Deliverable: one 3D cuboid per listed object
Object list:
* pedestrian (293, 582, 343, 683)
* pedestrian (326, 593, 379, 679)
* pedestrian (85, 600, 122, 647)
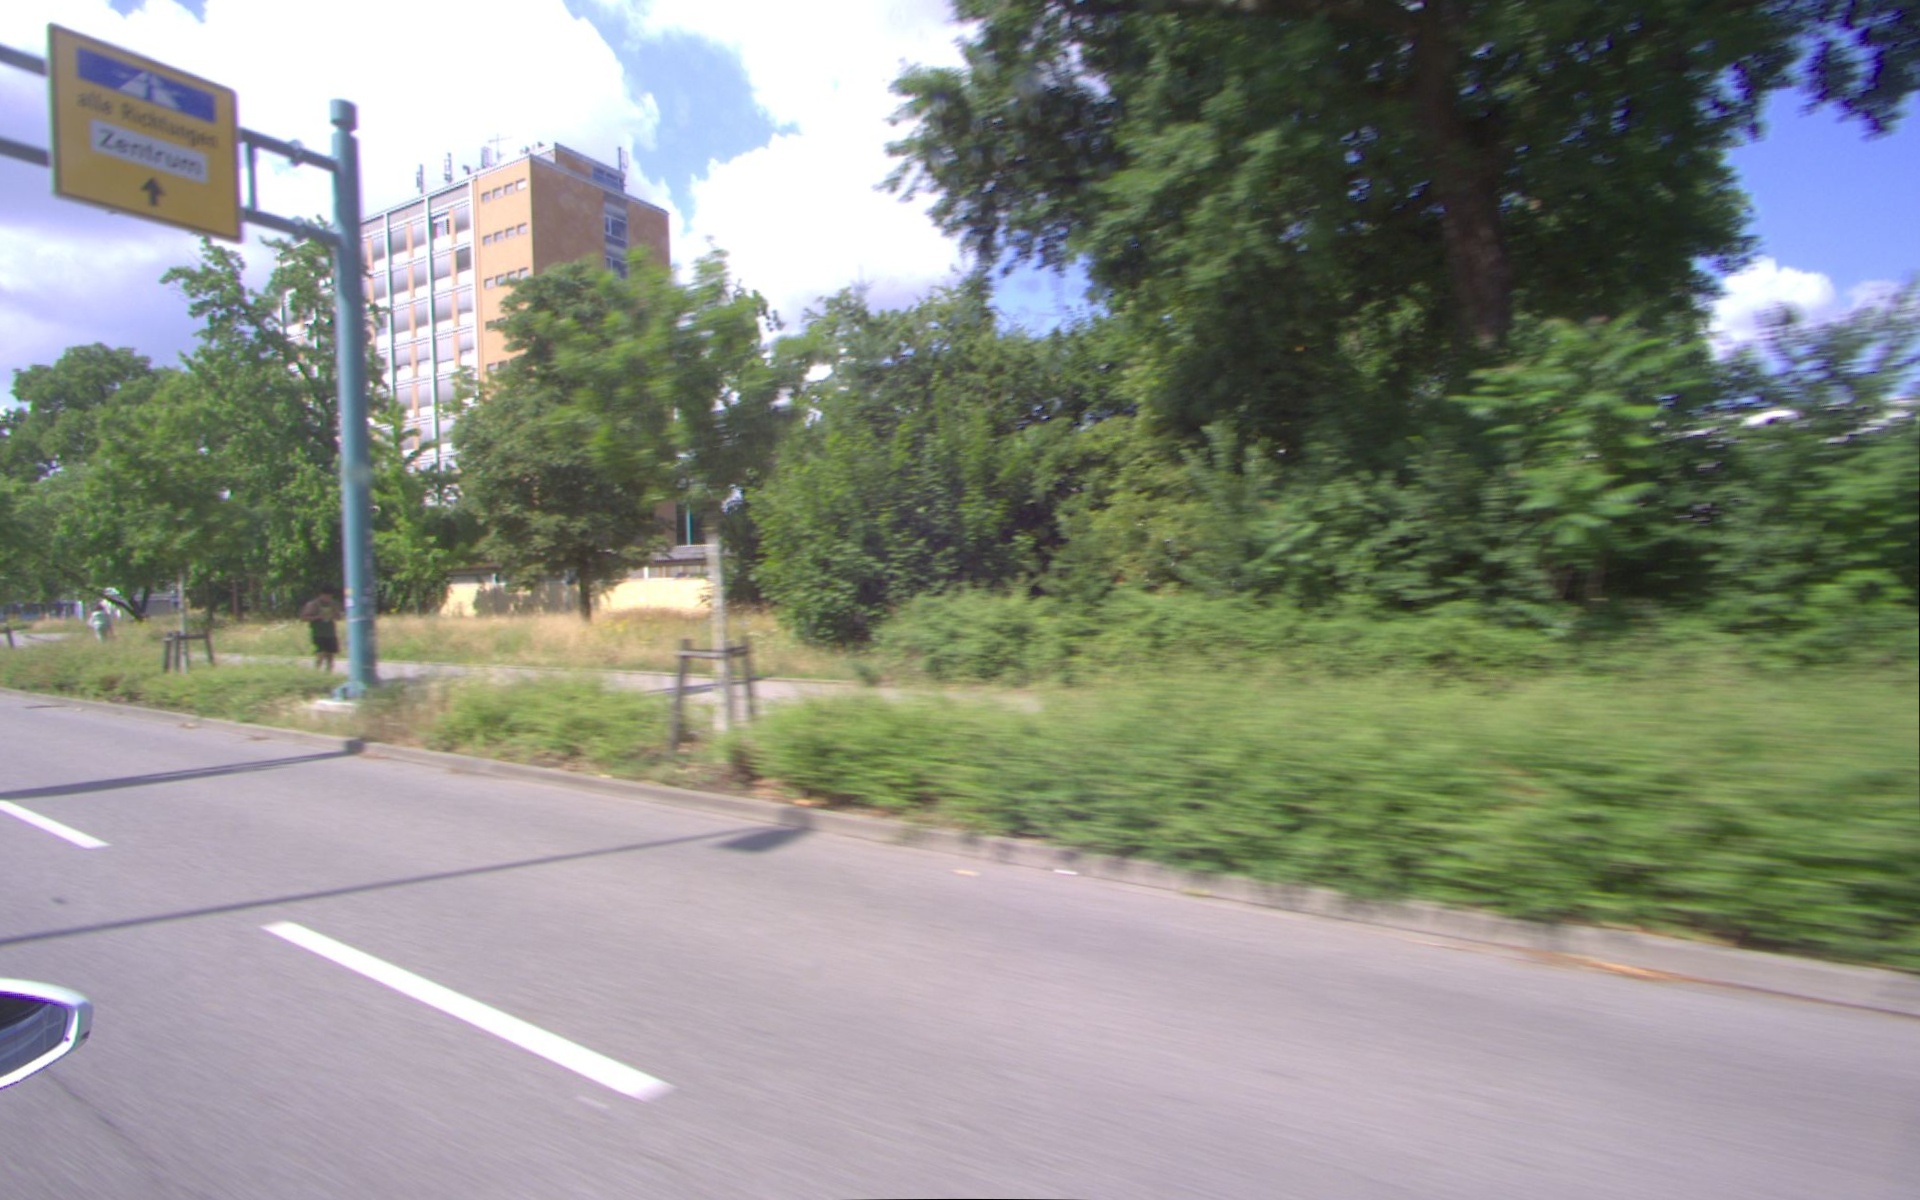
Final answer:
[{"bbox_3d":[-11.801,0.580,18.408,0.630,1.826,0.565,0,1,36],"label":"pedestrian"},{"bbox_3d":[-11.575,0.665,19.079,0.699,1.602,0.621,0,1,36],"label":"pedestrian"},{"bbox_3d":[-30.744,0.841,35.953,0.712,1.660,0.864,0,1,38],"label":"pedestrian"}]
